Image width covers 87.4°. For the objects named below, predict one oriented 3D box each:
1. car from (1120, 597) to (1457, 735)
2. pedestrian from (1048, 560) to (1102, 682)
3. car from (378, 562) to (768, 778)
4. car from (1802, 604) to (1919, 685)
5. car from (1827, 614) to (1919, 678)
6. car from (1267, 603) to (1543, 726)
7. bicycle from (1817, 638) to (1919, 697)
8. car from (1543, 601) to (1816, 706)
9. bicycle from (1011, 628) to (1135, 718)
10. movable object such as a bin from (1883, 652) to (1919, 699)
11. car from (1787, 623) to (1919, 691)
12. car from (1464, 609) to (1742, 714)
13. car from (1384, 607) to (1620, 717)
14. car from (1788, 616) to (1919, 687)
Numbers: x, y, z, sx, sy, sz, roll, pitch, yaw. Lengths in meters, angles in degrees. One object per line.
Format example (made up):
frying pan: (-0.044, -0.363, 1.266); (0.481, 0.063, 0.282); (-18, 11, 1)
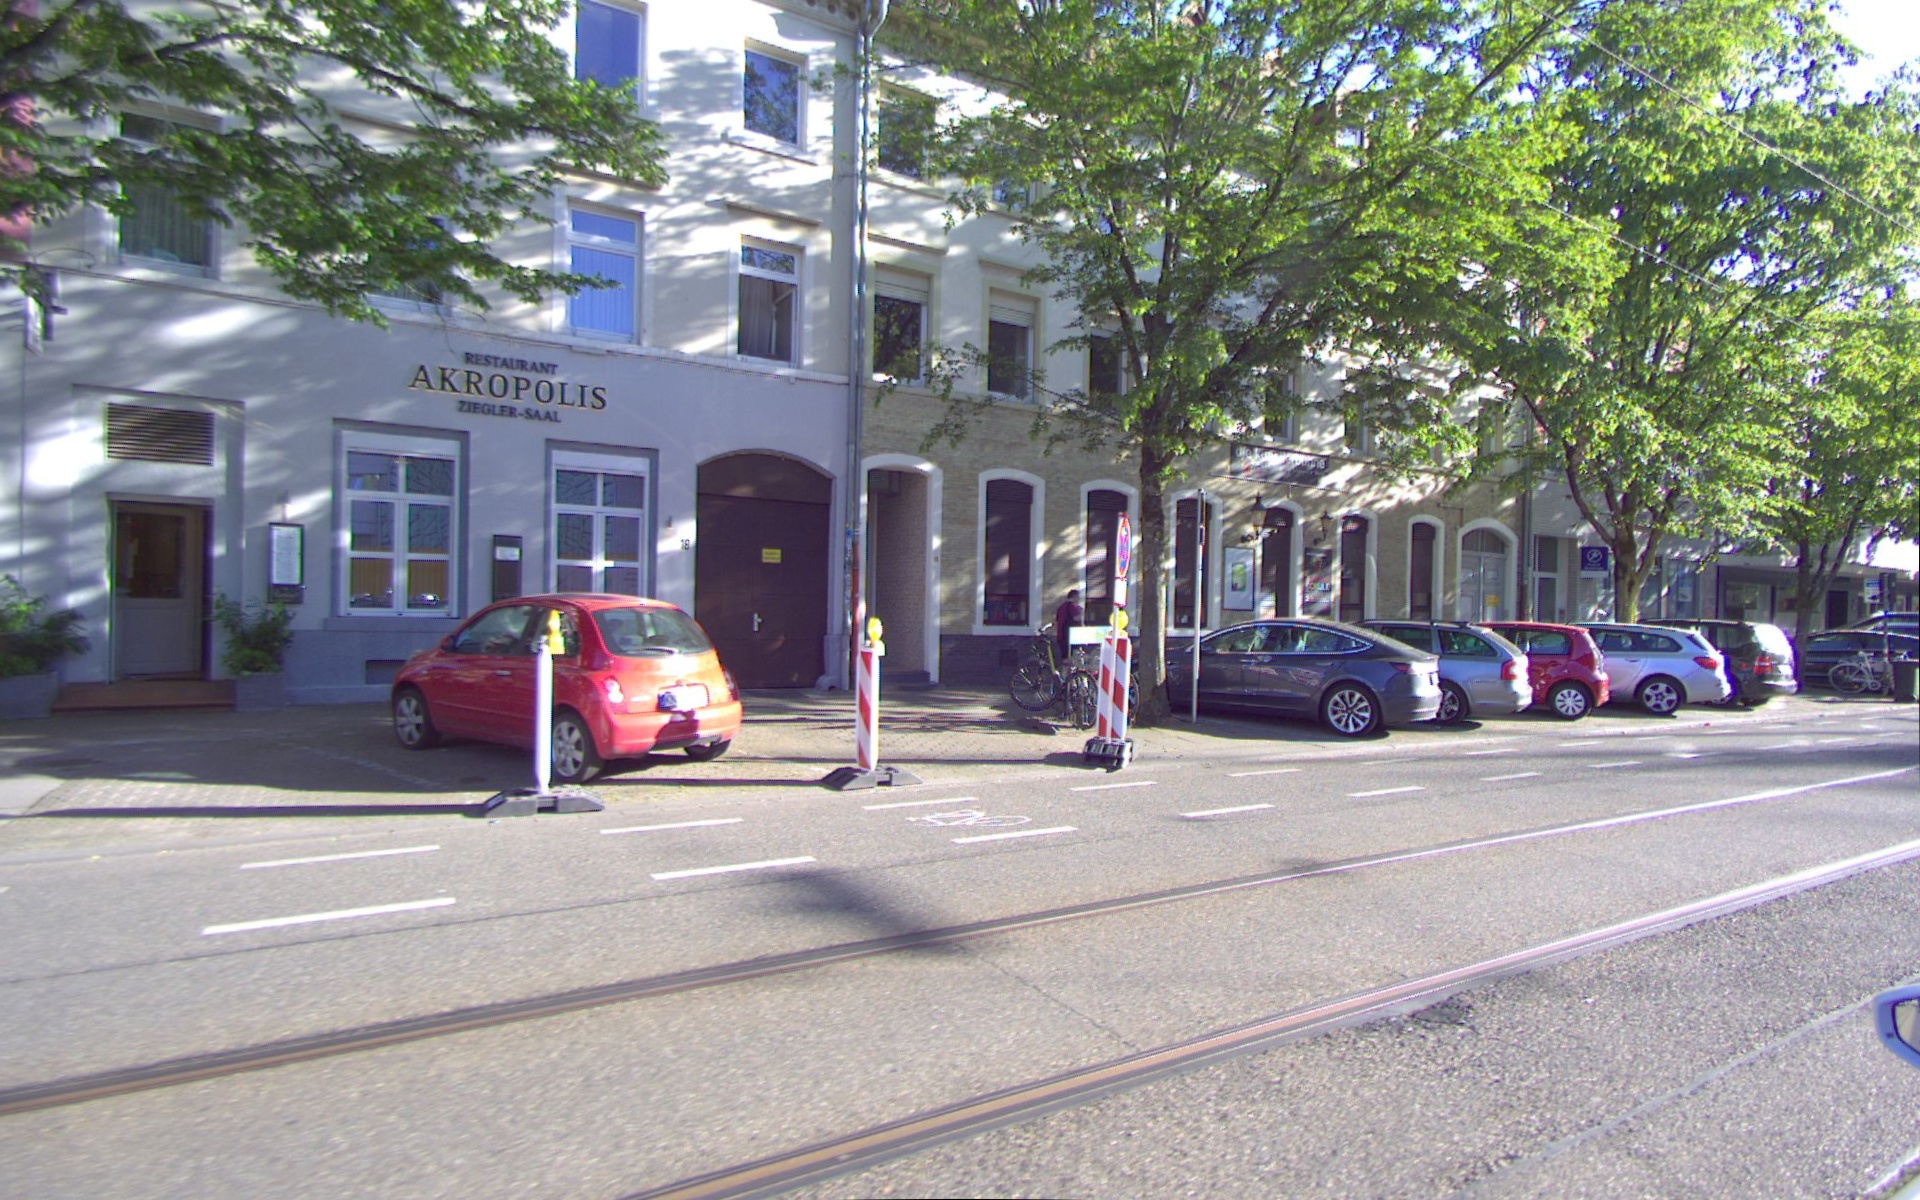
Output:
car: (4.581, 0.810, 14.186); (4.131, 1.511, 1.938); (3, 1, 33)
pedestrian: (1.963, 0.354, 17.208); (0.550, 2.040, 0.728); (1, 0, -29)
car: (-3.689, 0.492, 9.407); (3.564, 1.574, 1.663); (3, 3, 34)
car: (25.800, 1.236, 27.302); (4.300, 2.013, 1.941); (4, 1, 38)
car: (27.972, 1.384, 28.968); (4.226, 1.689, 1.905); (4, 2, 36)
car: (6.805, 0.900, 15.422); (3.619, 1.490, 1.749); (3, 1, 31)
bicycle: (20.720, 1.516, 22.746); (1.943, 1.160, 0.490); (4, 1, 42)
car: (14.460, 0.992, 20.423); (1.821, 1.700, 4.080); (2, 2, -32)
bicycle: (1.474, 0.941, 13.151); (1.562, 1.110, 0.334); (1, -1, 15)
movable object such as a bin: (20.493, 1.637, 21.841); (0.569, 0.925, 0.572); (4, 3, 44)
car: (22.004, 1.325, 23.662); (3.813, 1.496, 1.834); (1, -1, 42)
car: (11.653, 1.029, 18.436); (4.047, 1.533, 1.836); (3, 2, 34)
car: (9.143, 0.974, 17.053); (3.315, 1.513, 1.609); (3, 2, 32)
car: (23.967, 1.315, 25.736); (4.184, 1.707, 1.803); (1, -1, 39)
